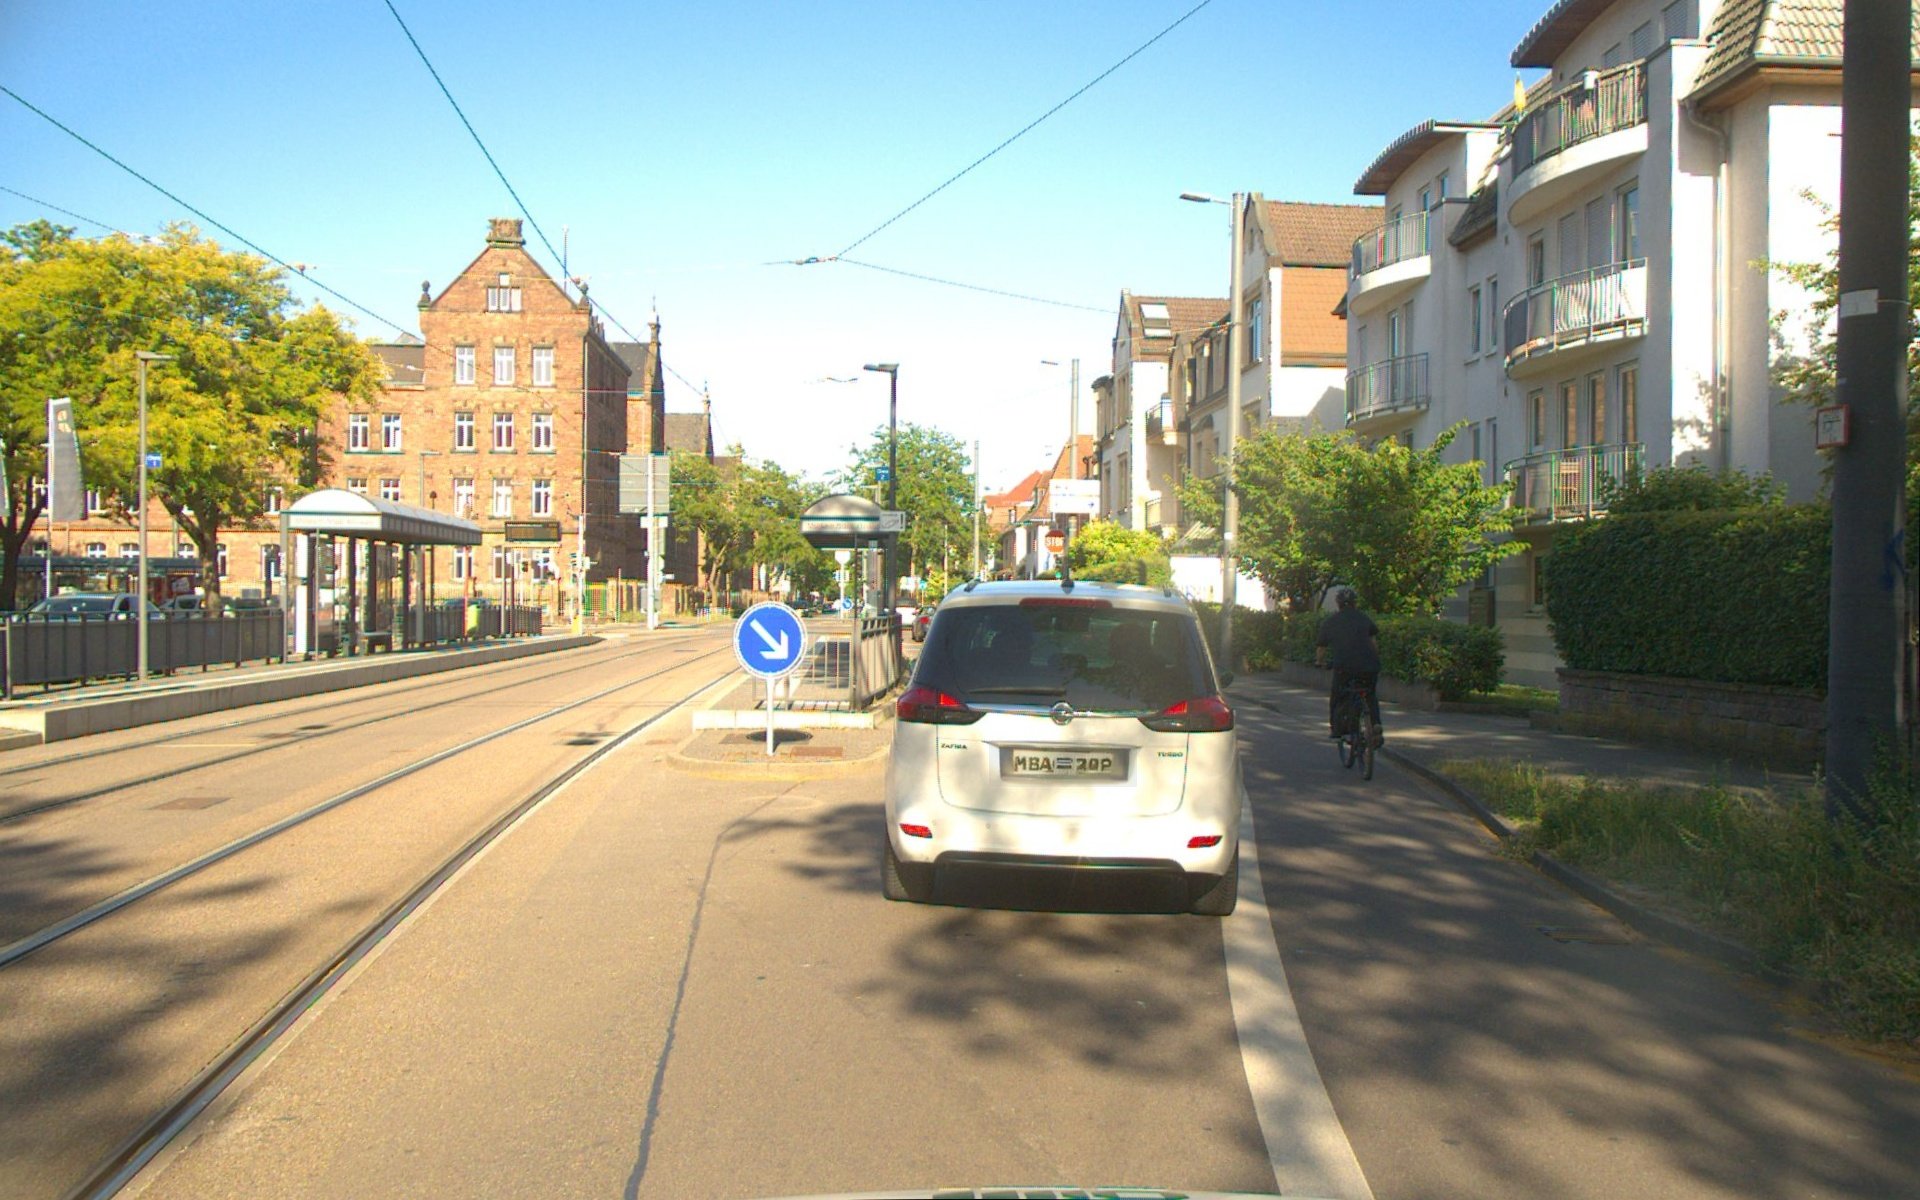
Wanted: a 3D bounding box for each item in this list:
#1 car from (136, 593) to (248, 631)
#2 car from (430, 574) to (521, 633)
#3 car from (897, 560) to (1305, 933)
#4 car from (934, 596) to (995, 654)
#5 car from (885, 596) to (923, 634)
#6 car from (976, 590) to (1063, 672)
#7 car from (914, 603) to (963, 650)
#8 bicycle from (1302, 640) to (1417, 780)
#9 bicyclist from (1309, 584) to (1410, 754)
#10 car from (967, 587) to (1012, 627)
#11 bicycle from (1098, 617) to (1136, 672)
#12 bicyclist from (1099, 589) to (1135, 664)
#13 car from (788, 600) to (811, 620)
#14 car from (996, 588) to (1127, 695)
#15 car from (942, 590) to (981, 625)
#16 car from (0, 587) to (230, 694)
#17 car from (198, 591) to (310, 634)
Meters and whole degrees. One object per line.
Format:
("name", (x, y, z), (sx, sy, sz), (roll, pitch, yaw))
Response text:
("car", (-33.749, 0.531, 72.770), (3.982, 1.548, 1.876), (1, -1, -2))
("car", (-16.100, 0.154, 55.129), (1.818, 1.427, 3.981), (-6, -5, -2))
("car", (0.574, 0.683, 9.463), (1.798, 1.671, 3.916), (1, -1, -3))
("car", (0.092, 0.744, 50.184), (1.740, 1.660, 3.879), (1, -1, -1))
("car", (-2.683, 0.720, 79.270), (1.740, 1.722, 3.879), (1, -1, -2))
("car", (1.253, 0.662, 36.176), (1.739, 1.660, 3.880), (1, -1, 0))
("car", (-0.791, 0.977, 61.200), (1.740, 1.660, 3.879), (1, -1, -1))
("bicycle", (3.719, 0.988, 15.555), (0.811, 1.175, 2.096), (1, -1, 7))
("bicyclist", (3.722, 0.627, 15.473), (0.803, 1.528, 0.935), (1, -1, 7))
("car", (1.245, 0.317, 71.845), (1.740, 1.660, 3.879), (1, -1, -2))
("bicycle", (3.505, 0.979, 37.009), (0.672, 1.177, 1.619), (1, -1, -1))
("bicyclist", (3.506, 0.589, 37.037), (0.672, 1.663, 1.015), (1, -1, -1))
("car", (-14.239, 0.878, 146.878), (1.869, 1.706, 4.355), (1, 0, -3))
("car", (1.637, 0.667, 27.868), (1.741, 1.660, 3.878), (1, -1, -3))
("car", (0.054, 0.365, 80.238), (1.740, 1.660, 3.879), (1, -1, -2))
("car", (-14.142, 0.603, 27.608), (1.844, 1.439, 4.625), (0, 3, 0))
("car", (-28.891, 0.505, 67.731), (3.780, 1.689, 1.750), (1, -1, -2))
